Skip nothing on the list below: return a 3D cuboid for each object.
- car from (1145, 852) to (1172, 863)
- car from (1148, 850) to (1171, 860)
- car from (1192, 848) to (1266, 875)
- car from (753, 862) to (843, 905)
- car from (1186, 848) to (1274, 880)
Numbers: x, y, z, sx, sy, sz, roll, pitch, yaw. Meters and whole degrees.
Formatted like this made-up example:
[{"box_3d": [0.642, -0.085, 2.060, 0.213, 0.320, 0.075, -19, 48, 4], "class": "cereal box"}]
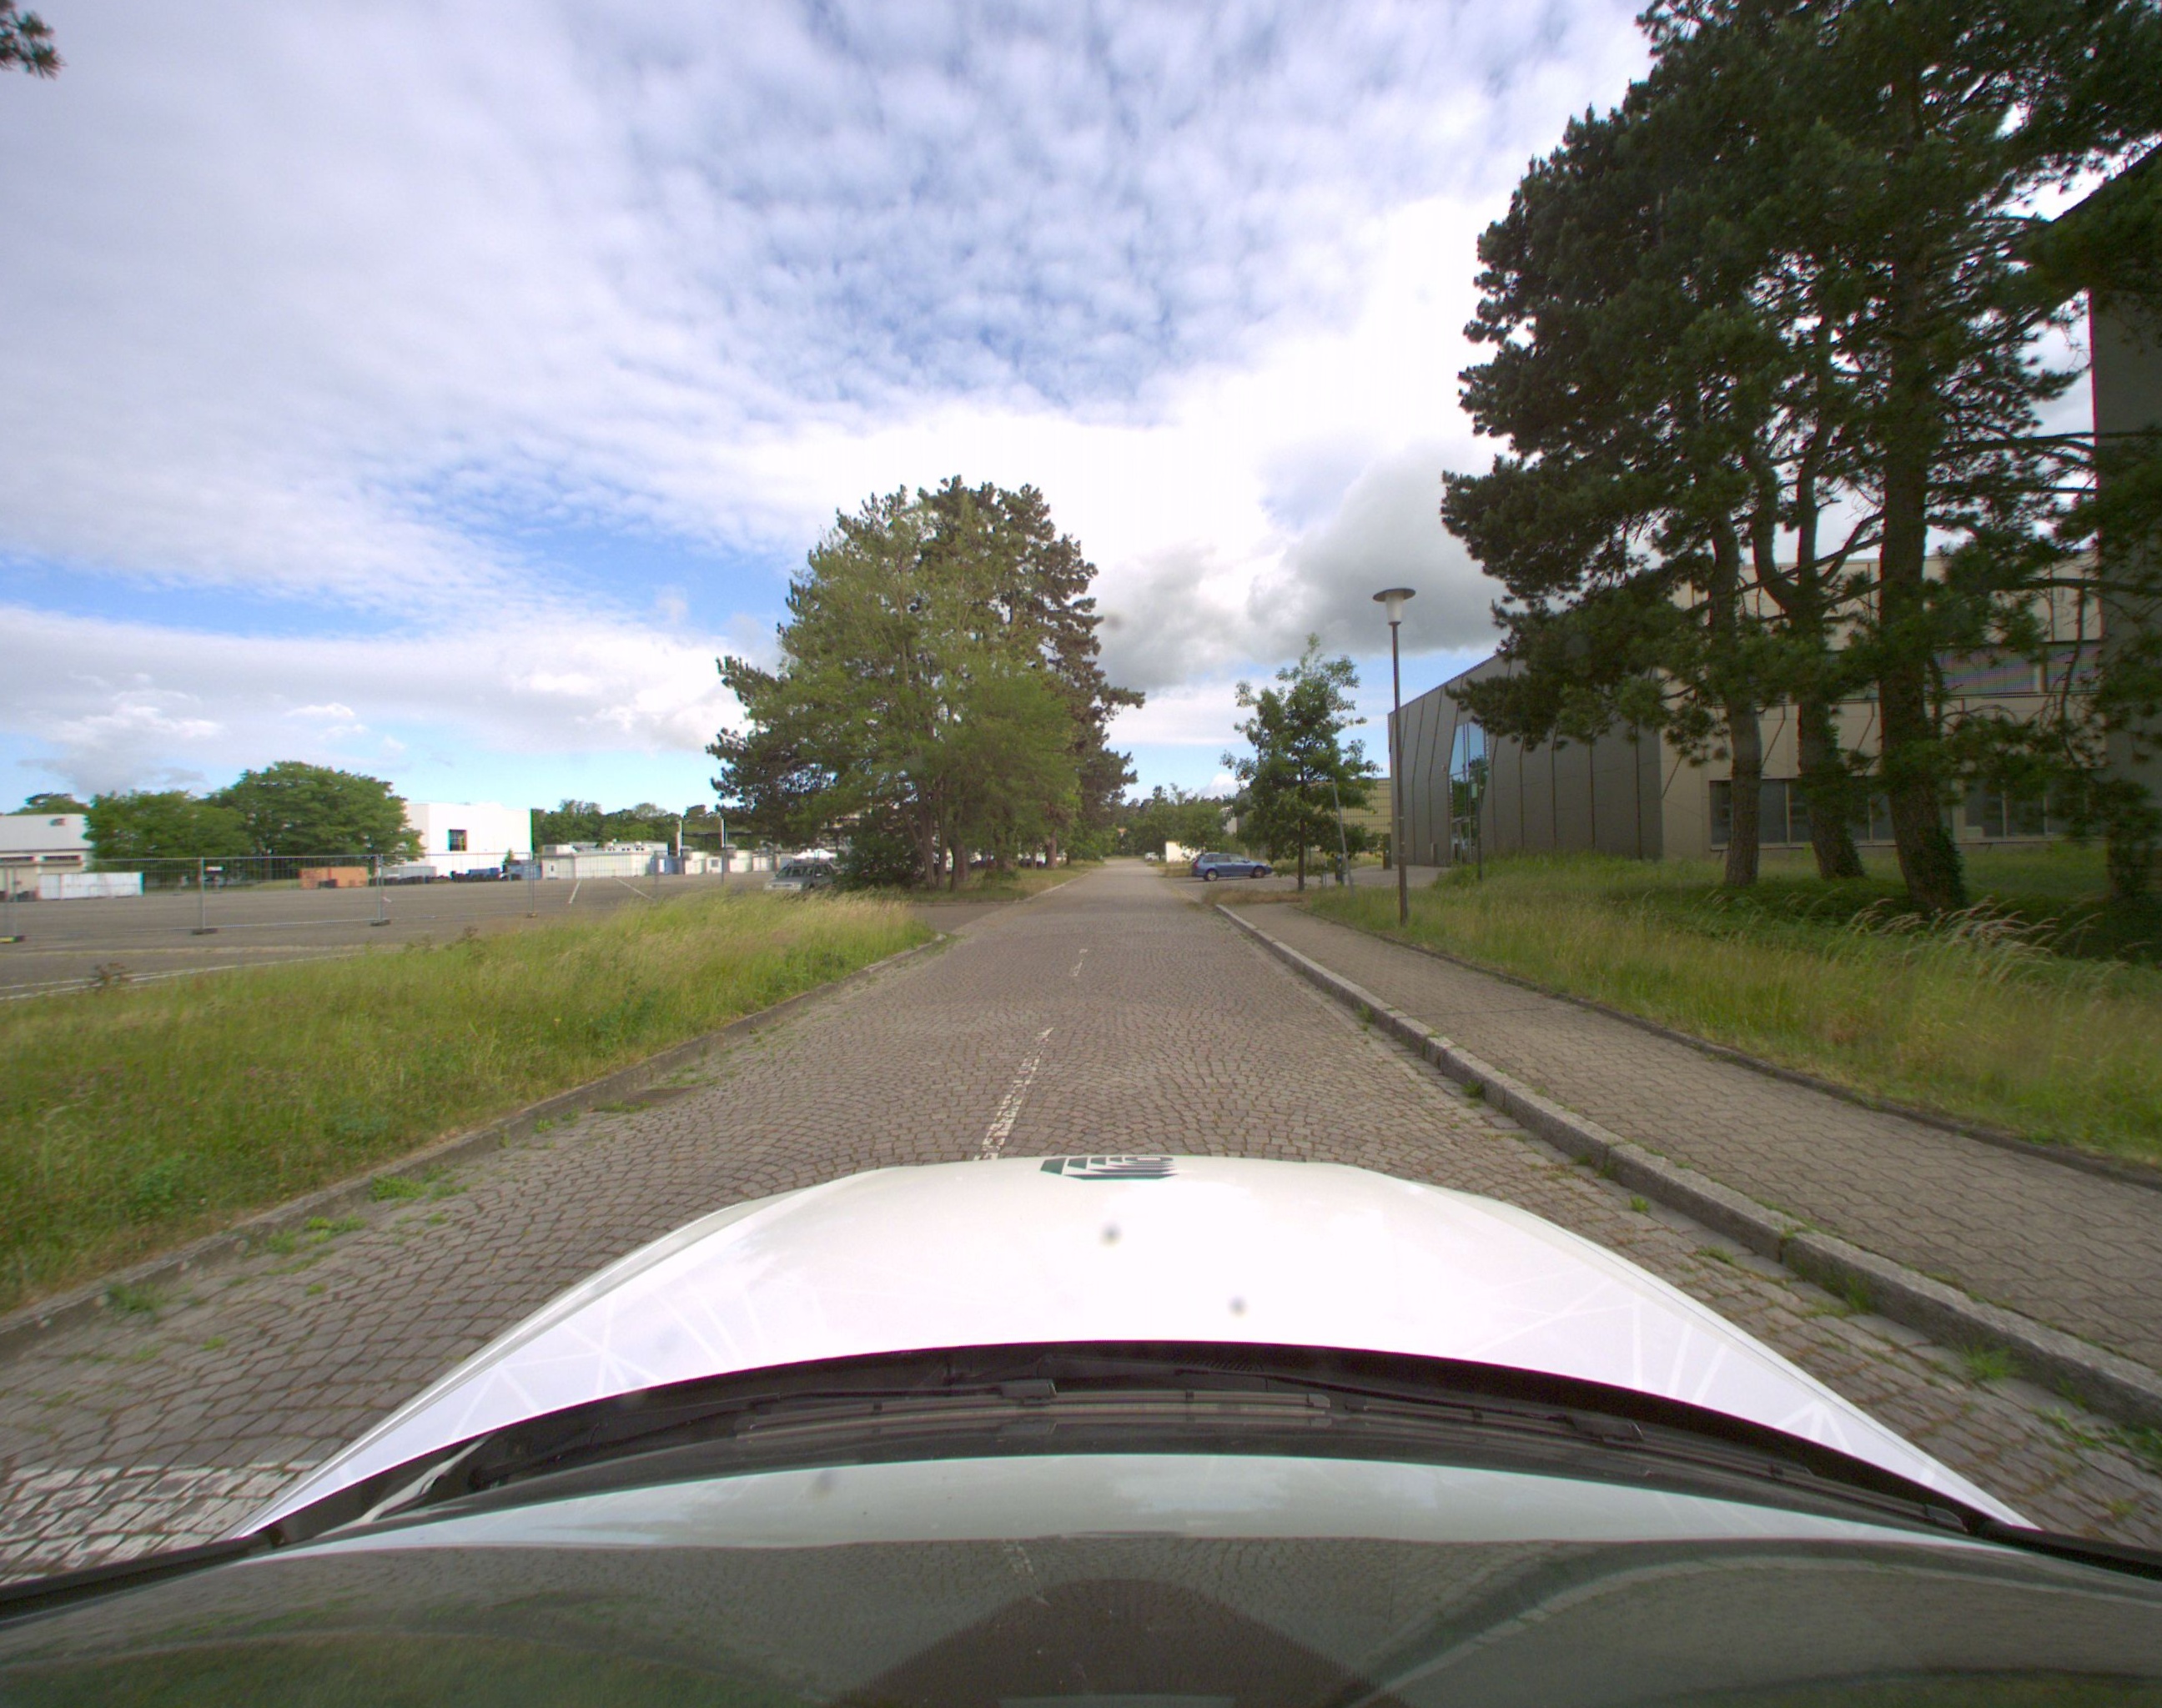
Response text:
[{"box_3d": [13.257, 0.564, 139.334, 4.337, 1.687, 1.926, -1, 0, 2], "class": "car"}, {"box_3d": [15.442, 0.136, 160.266, 4.334, 1.780, 1.928, -1, 0, 4], "class": "car"}, {"box_3d": [9.618, 0.478, 53.124, 4.498, 1.531, 2.002, -3, 0, 3], "class": "car"}, {"box_3d": [-10.984, 1.104, 31.943, 1.912, 1.477, 4.370, -1, 0, 1], "class": "car"}, {"box_3d": [8.335, 0.523, 45.820, 4.503, 1.531, 2.000, -3, 0, 0], "class": "car"}]
